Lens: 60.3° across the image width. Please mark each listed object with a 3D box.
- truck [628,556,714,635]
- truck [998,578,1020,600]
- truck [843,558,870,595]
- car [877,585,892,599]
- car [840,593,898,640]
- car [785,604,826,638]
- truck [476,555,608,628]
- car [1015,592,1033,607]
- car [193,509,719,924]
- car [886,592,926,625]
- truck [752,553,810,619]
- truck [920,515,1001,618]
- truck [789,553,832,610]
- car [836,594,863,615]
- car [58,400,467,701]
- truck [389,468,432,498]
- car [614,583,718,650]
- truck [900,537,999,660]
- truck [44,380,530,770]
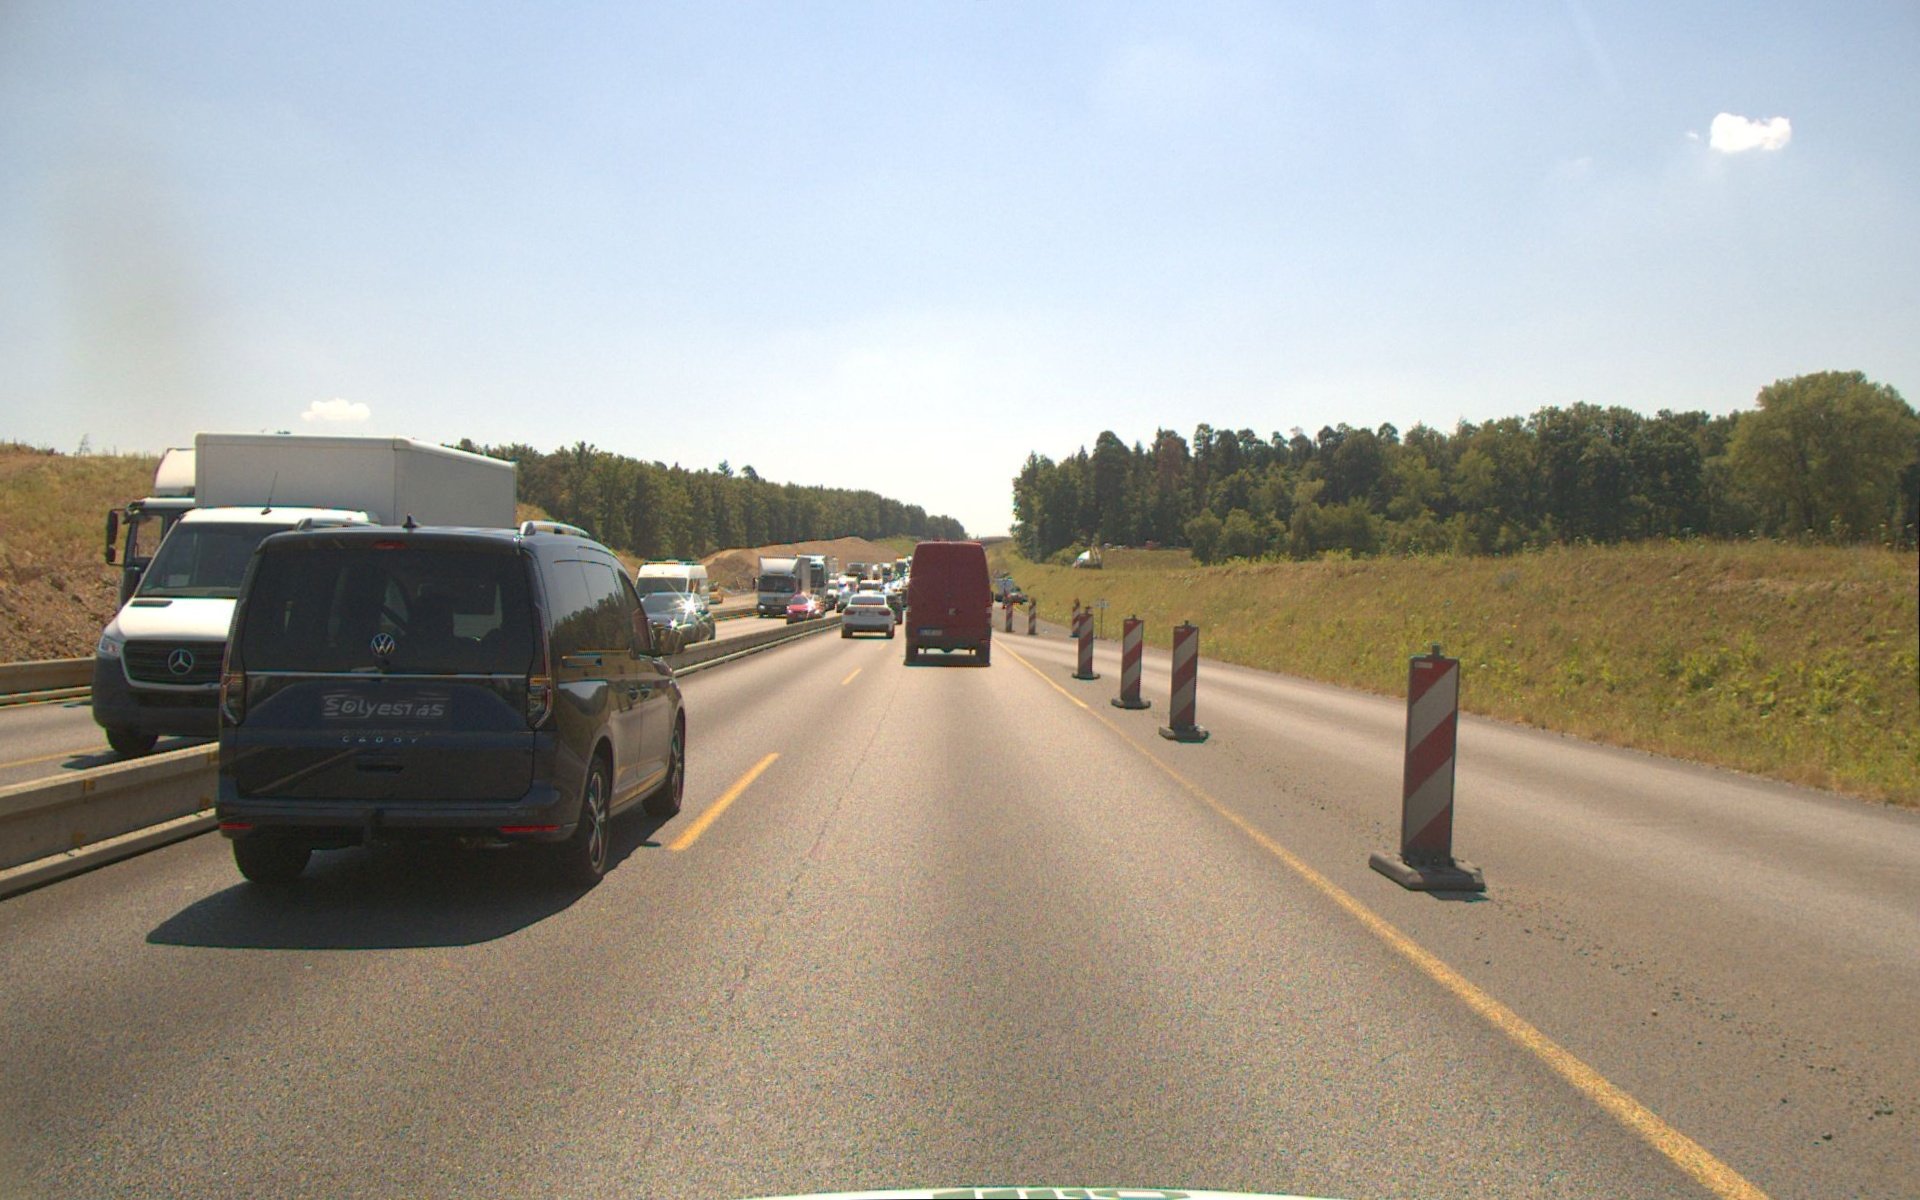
[{"bbox_3d":[-10.271,-0.233,59.218,2.056,2.614,6.353,2,1,-2],"label":"truck"},{"bbox_3d":[5.654,-1.288,190.152,2.084,2.499,5.930,1,1,6],"label":"truck"},{"bbox_3d":[-12.028,-2.728,192.282,2.439,4.272,5.913,-1,0,2],"label":"truck"},{"bbox_3d":[-9.155,-0.952,201.057,1.654,1.642,4.592,1,0,-1],"label":"car"},{"bbox_3d":[-3.138,0.547,57.637,1.794,1.548,3.960,1,0,-1],"label":"car"},{"bbox_3d":[-7.362,0.986,78.912,1.594,1.510,4.052,1,0,-1],"label":"car"},{"bbox_3d":[-18.440,-0.336,73.027,5.018,3.016,2.548,2,-1,-42],"label":"truck"},{"bbox_3d":[6.610,-0.096,172.180,1.620,1.451,4.545,-2,1,0],"label":"car"},{"bbox_3d":[-2.638,0.503,9.916,1.716,1.856,4.782,1,1,-1],"label":"car"},{"bbox_3d":[-2.702,0.395,83.859,1.927,1.568,4.310,1,1,-1],"label":"car"},{"bbox_3d":[-10.855,-0.788,100.947,2.591,3.781,9.480,1,0,-1],"label":"truck"},{"bbox_3d":[-0.085,-1.787,99.097,4.311,5.592,16.600,1,0,-1],"label":"truck"},{"bbox_3d":[-10.925,-1.305,121.204,2.791,4.088,4.858,-1,0,-1],"label":"truck"},{"bbox_3d":[-7.965,0.312,119.639,1.820,1.467,4.498,1,0,-3],"label":"car"},{"bbox_3d":[-10.142,-0.671,25.241,2.849,3.805,8.089,1,0,-1],"label":"car"},{"bbox_3d":[-64.274,-13.653,193.292,2.335,2.949,8.261,1,0,-36],"label":"truck"},{"bbox_3d":[-7.086,0.380,40.269,1.752,1.508,4.560,1,0,-1],"label":"car"},{"bbox_3d":[-0.286,-0.028,38.685,2.109,2.635,5.332,1,0,-1],"label":"truck"},{"bbox_3d":[-6.550,-0.194,17.438,2.225,3.205,7.311,1,0,-1],"label":"truck"}]
